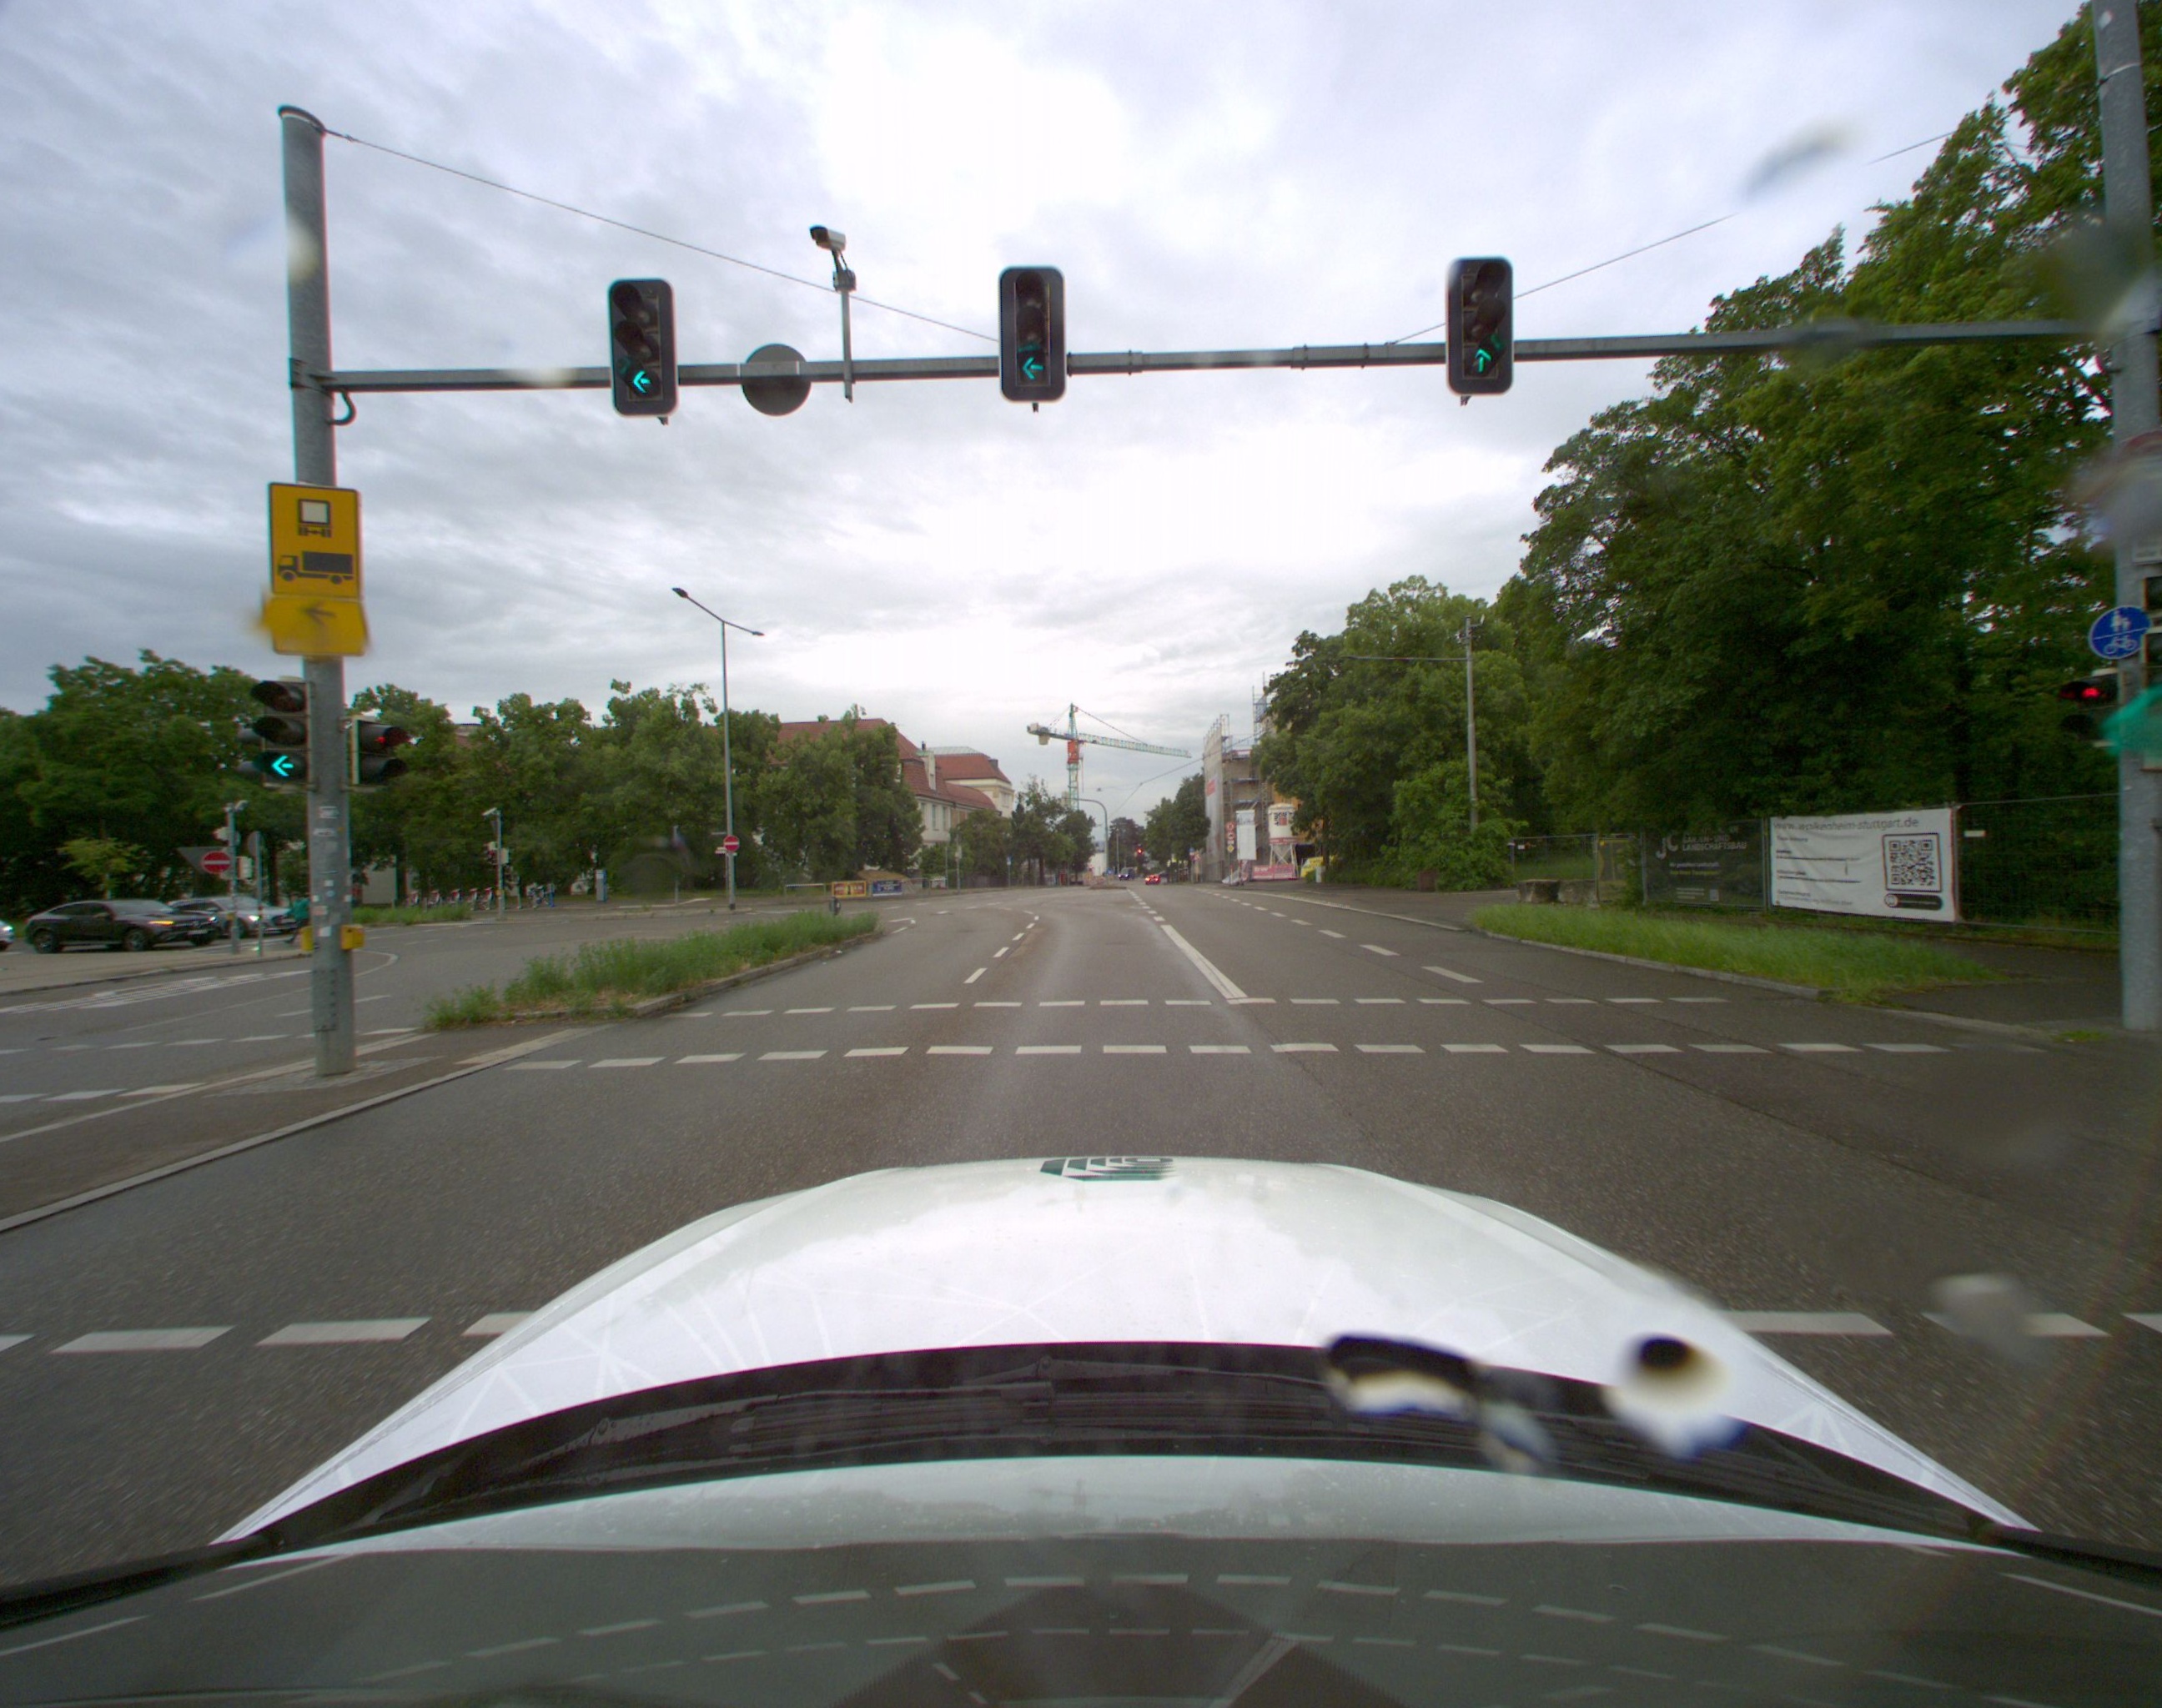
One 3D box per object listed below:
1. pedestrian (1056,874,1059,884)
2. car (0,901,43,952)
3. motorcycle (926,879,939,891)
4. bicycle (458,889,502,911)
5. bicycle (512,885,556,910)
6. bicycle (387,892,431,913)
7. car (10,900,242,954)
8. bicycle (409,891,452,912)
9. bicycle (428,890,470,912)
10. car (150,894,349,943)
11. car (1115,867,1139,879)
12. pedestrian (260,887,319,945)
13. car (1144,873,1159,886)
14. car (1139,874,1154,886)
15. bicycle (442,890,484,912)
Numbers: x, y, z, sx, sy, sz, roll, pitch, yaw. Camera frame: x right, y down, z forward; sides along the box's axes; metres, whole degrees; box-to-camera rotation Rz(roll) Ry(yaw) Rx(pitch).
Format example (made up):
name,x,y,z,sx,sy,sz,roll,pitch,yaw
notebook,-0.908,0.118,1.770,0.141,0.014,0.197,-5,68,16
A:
name,x,y,z,sx,sy,sz,roll,pitch,yaw
pedestrian,-3.802,3.960,130.568,0.491,1.645,0.534,-1,-1,4
car,-36.464,2.367,26.214,3.539,1.594,2.001,-1,-1,1
motorcycle,-11.732,2.462,64.439,0.846,0.877,0.877,-1,-1,1
bicycle,-32.196,2.474,43.660,0.798,1.071,1.982,-1,-1,2
bicycle,-29.364,2.298,43.763,0.987,1.249,1.982,-1,-1,2
bicycle,-35.891,2.580,43.527,0.649,1.071,1.982,-1,-1,2
car,-30.045,2.276,25.735,5.005,1.500,2.001,-1,-1,1
bicycle,-34.914,2.540,43.740,0.649,1.071,1.982,-1,-1,2
bicycle,-33.835,2.505,43.607,0.649,1.071,1.982,-1,-1,2
car,-29.236,2.256,28.756,5.005,1.548,2.001,-1,-1,1
car,9.767,4.074,173.613,2.822,2.403,6.223,-1,-1,26
pedestrian,-24.413,1.900,25.134,0.917,1.727,0.948,-1,-1,9
car,10.735,3.881,124.201,1.986,1.750,4.001,-2,-1,1
car,10.501,4.180,130.775,1.986,1.750,4.001,-2,-1,1
bicycle,-32.946,2.503,43.430,0.649,1.071,1.982,-1,-1,2
